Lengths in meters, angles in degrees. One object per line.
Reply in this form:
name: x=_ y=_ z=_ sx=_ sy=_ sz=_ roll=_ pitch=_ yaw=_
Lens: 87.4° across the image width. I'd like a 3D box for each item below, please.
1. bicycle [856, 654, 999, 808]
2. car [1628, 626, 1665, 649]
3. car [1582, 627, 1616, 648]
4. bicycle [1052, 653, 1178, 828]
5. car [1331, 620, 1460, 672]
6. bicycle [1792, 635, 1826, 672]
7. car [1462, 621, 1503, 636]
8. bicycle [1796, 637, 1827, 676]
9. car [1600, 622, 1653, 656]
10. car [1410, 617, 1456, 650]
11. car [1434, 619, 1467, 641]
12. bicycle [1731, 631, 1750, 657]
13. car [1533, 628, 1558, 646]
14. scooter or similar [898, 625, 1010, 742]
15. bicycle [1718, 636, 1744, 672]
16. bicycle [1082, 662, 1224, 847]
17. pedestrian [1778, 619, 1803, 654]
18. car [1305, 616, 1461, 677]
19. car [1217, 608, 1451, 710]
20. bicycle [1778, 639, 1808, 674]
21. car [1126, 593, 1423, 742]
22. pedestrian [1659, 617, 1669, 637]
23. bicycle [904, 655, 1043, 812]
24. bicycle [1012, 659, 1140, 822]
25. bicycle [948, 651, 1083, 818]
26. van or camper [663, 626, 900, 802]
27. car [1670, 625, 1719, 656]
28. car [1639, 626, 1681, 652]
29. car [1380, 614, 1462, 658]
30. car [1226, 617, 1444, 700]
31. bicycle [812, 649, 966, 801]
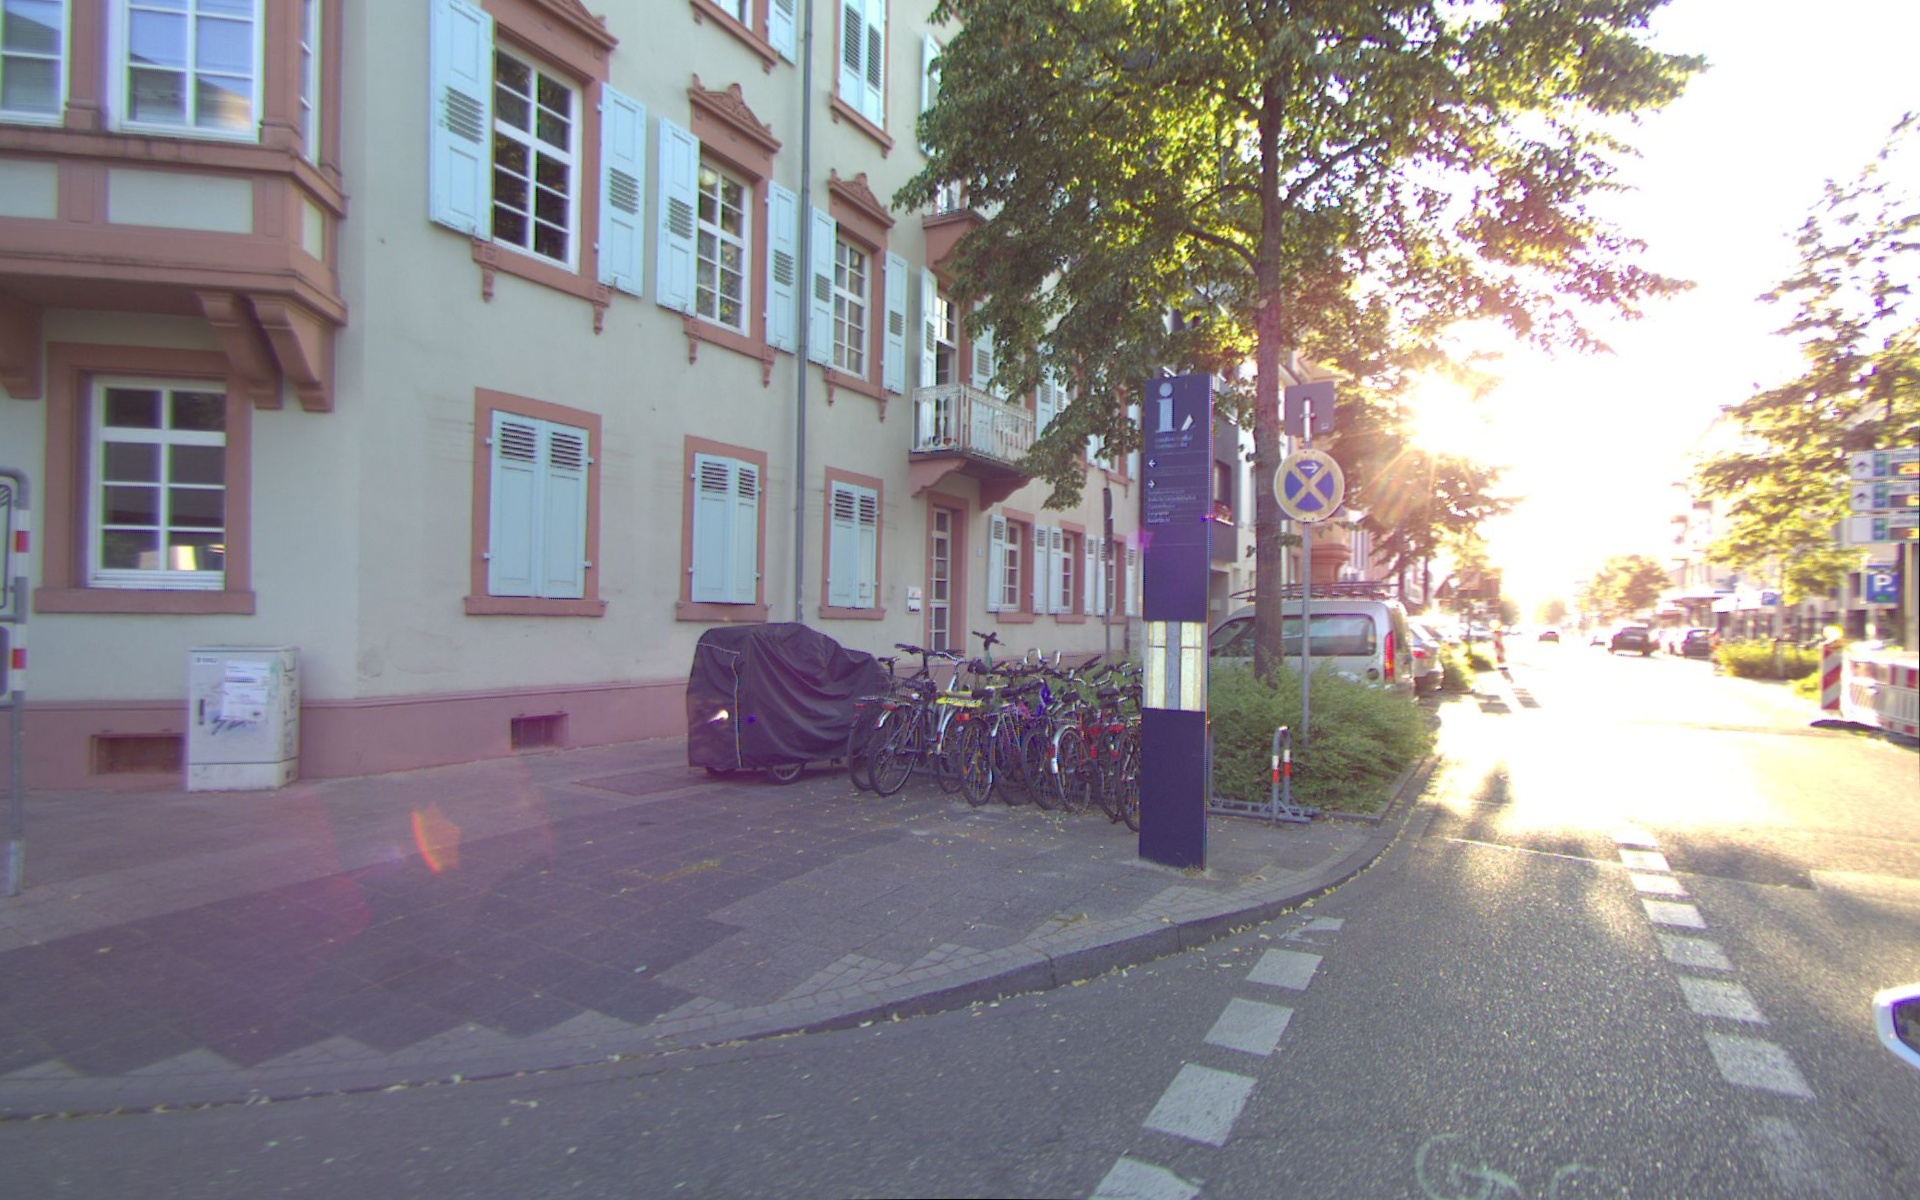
bicycle: x=-0.221 y=1.012 z=8.195 sx=0.317 sy=1.096 sz=1.593 roll=1 pitch=-1 yaw=32
car: x=44.174 y=2.389 z=64.678 sx=1.678 sy=1.455 sz=3.925 roll=0 pitch=-1 yaw=30
car: x=48.417 y=2.820 z=76.152 sx=1.894 sy=1.434 sz=4.540 roll=3 pitch=0 yaw=30
bicycle: x=1.233 y=1.019 z=7.746 sx=0.326 sy=1.156 sz=1.593 roll=3 pitch=0 yaw=32
car: x=13.182 y=1.350 z=30.426 sx=3.349 sy=1.410 sz=1.682 roll=1 pitch=0 yaw=32
bicycle: x=26.824 y=1.675 z=31.745 sx=0.375 sy=1.115 sz=1.522 roll=0 pitch=-1 yaw=23
car: x=56.373 y=3.061 z=108.457 sx=3.551 sy=1.503 sz=1.634 roll=1 pitch=0 yaw=0
bicycle: x=27.775 y=1.829 z=32.770 sx=0.376 sy=1.205 sz=1.522 roll=2 pitch=-1 yaw=26
car: x=36.115 y=2.074 z=54.522 sx=1.966 sy=1.677 sz=4.665 roll=3 pitch=0 yaw=30
car: x=23.878 y=1.675 z=50.654 sx=1.748 sy=1.535 sz=3.942 roll=1 pitch=-1 yaw=30
car: x=35.662 y=2.169 z=72.941 sx=1.801 sy=1.576 sz=5.126 roll=-2 pitch=-2 yaw=30
bicycle: x=39.199 y=2.185 z=50.463 sx=0.391 sy=1.251 sz=1.823 roll=0 pitch=-1 yaw=27
car: x=51.670 y=3.237 z=88.674 sx=1.856 sy=1.434 sz=4.317 roll=1 pitch=-1 yaw=30
scooter or similar: x=-0.045 y=0.907 z=11.473 sx=0.666 sy=1.238 sz=1.392 roll=0 pitch=-1 yaw=30
bicycle: x=24.556 y=1.707 z=32.002 sx=0.376 sy=1.115 sz=1.521 roll=0 pitch=-1 yaw=26
bicycle: x=1.451 y=1.050 z=7.320 sx=0.389 sy=1.123 sz=1.708 roll=3 pitch=0 yaw=32
pedestrian: x=39.561 y=1.755 z=47.839 sx=0.798 sy=1.668 sz=0.605 roll=-1 pitch=-2 yaw=30
car: x=11.939 y=1.264 z=28.386 sx=3.837 sy=1.537 sz=1.853 roll=1 pitch=0 yaw=31
car: x=6.942 y=1.034 z=18.724 sx=3.772 sy=1.606 sz=1.737 roll=2 pitch=-1 yaw=33
bicycle: x=27.284 y=1.832 z=32.918 sx=0.376 sy=1.115 sz=1.522 roll=1 pitch=-1 yaw=26
car: x=4.477 y=0.864 z=14.436 sx=3.758 sy=1.874 sz=1.695 roll=0 pitch=-1 yaw=34
pedestrian: x=62.786 y=2.430 z=89.564 sx=0.679 sy=1.744 sz=0.714 roll=-1 pitch=-2 yaw=35
bicycle: x=0.150 y=1.016 z=8.097 sx=0.335 sy=1.096 sz=1.593 roll=0 pitch=-1 yaw=32
bicycle: x=0.956 y=1.048 z=7.946 sx=0.314 sy=1.096 sz=1.593 roll=3 pitch=0 yaw=32
bicycle: x=0.478 y=1.001 z=7.930 sx=0.307 sy=1.163 sz=1.608 roll=1 pitch=-1 yaw=32
van or camper: x=-1.455 y=0.880 z=8.523 sx=0.928 sy=1.276 sz=1.840 roll=2 pitch=0 yaw=34
car: x=37.903 y=2.059 z=51.891 sx=1.608 sy=1.574 sz=2.691 roll=0 pitch=-1 yaw=27
car: x=40.748 y=2.252 z=58.555 sx=1.609 sy=1.443 sz=3.752 roll=0 pitch=-1 yaw=29
car: x=16.900 y=1.320 z=36.804 sx=2.653 sy=1.541 sz=1.570 roll=-1 pitch=-1 yaw=27
car: x=7.898 y=1.169 z=21.196 sx=4.143 sy=1.536 sz=1.760 roll=0 pitch=-1 yaw=27
bicycle: x=-0.552 y=0.985 z=8.398 sx=0.389 sy=1.096 sz=1.593 roll=3 pitch=0 yaw=32
